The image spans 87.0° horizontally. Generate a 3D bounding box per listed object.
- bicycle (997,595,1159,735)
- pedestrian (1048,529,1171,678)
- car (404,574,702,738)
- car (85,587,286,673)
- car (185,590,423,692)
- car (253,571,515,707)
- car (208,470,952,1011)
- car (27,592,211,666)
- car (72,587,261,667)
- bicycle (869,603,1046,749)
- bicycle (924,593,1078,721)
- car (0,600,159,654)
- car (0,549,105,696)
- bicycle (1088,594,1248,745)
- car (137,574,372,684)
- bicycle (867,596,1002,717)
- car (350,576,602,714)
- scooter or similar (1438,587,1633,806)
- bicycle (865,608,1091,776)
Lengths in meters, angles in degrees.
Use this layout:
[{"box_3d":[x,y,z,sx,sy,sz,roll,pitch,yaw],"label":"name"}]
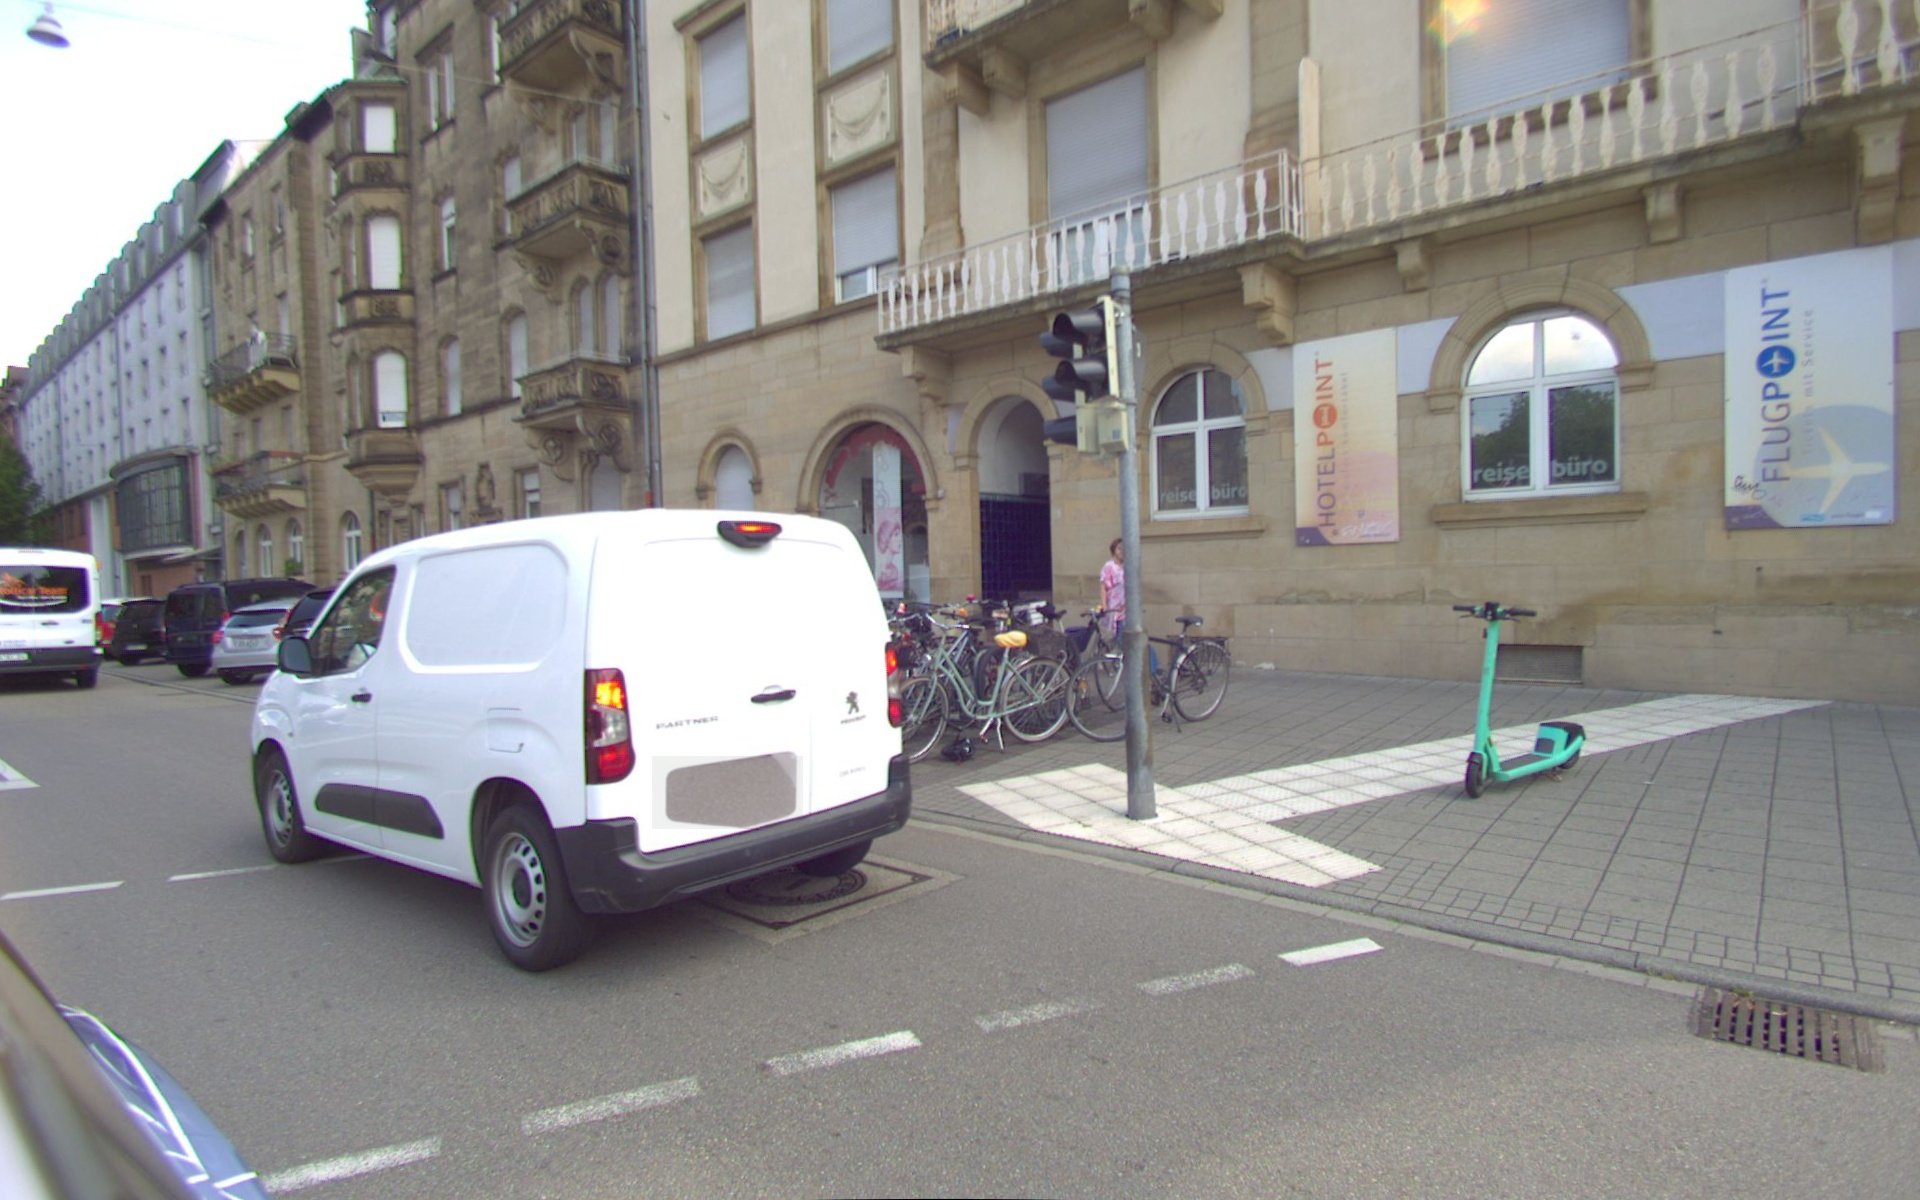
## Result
[{"box_3d":[1.099,0.544,9.164,1.589,1.059,0.481,-6,3,-42],"label":"bicycle"},{"box_3d":[1.751,0.024,11.818,0.996,1.606,0.932,-1,5,42],"label":"pedestrian"},{"box_3d":[-4.682,0.531,12.360,1.788,1.467,3.997,-4,3,3],"label":"car"},{"box_3d":[-18.776,0.653,24.783,1.708,1.596,3.954,-3,4,2],"label":"car"},{"box_3d":[-12.181,0.680,19.145,1.709,1.439,3.952,-4,3,3],"label":"car"},{"box_3d":[-9.057,0.503,16.353,1.778,1.701,3.954,-4,3,2],"label":"car"},{"box_3d":[-2.275,0.506,5.410,4.279,1.789,1.794,-2,0,39],"label":"car"},{"box_3d":[-23.612,0.757,28.633,1.708,1.596,3.954,-4,4,2],"label":"car"},{"box_3d":[-20.819,0.643,26.801,1.708,1.596,3.954,-4,4,2],"label":"car"},{"box_3d":[0.010,0.613,8.814,1.558,1.059,0.481,-6,3,-42],"label":"bicycle"},{"box_3d":[0.430,0.519,9.909,1.558,1.059,0.481,-6,3,-42],"label":"bicycle"},{"box_3d":[-27.961,0.806,32.228,1.708,1.485,3.953,-2,1,1],"label":"car"},{"box_3d":[-18.210,0.466,19.219,5.940,2.463,2.055,-2,-1,40],"label":"car"},{"box_3d":[1.751,0.535,8.419,1.421,1.059,0.481,-5,3,-40],"label":"bicycle"},{"box_3d":[-14.407,0.511,20.973,1.711,1.881,3.947,-3,3,7],"label":"car"},{"box_3d":[-0.233,0.542,10.394,0.462,1.059,1.464,-1,3,42],"label":"bicycle"},{"box_3d":[-6.831,0.528,14.814,1.707,1.467,3.956,-5,3,0],"label":"car"},{"box_3d":[3.540,0.537,6.201,1.232,1.154,0.482,-5,3,-31],"label":"scooter or similar"},{"box_3d":[0.167,0.662,7.896,1.708,1.059,0.532,-5,3,-33],"label":"bicycle"}]
